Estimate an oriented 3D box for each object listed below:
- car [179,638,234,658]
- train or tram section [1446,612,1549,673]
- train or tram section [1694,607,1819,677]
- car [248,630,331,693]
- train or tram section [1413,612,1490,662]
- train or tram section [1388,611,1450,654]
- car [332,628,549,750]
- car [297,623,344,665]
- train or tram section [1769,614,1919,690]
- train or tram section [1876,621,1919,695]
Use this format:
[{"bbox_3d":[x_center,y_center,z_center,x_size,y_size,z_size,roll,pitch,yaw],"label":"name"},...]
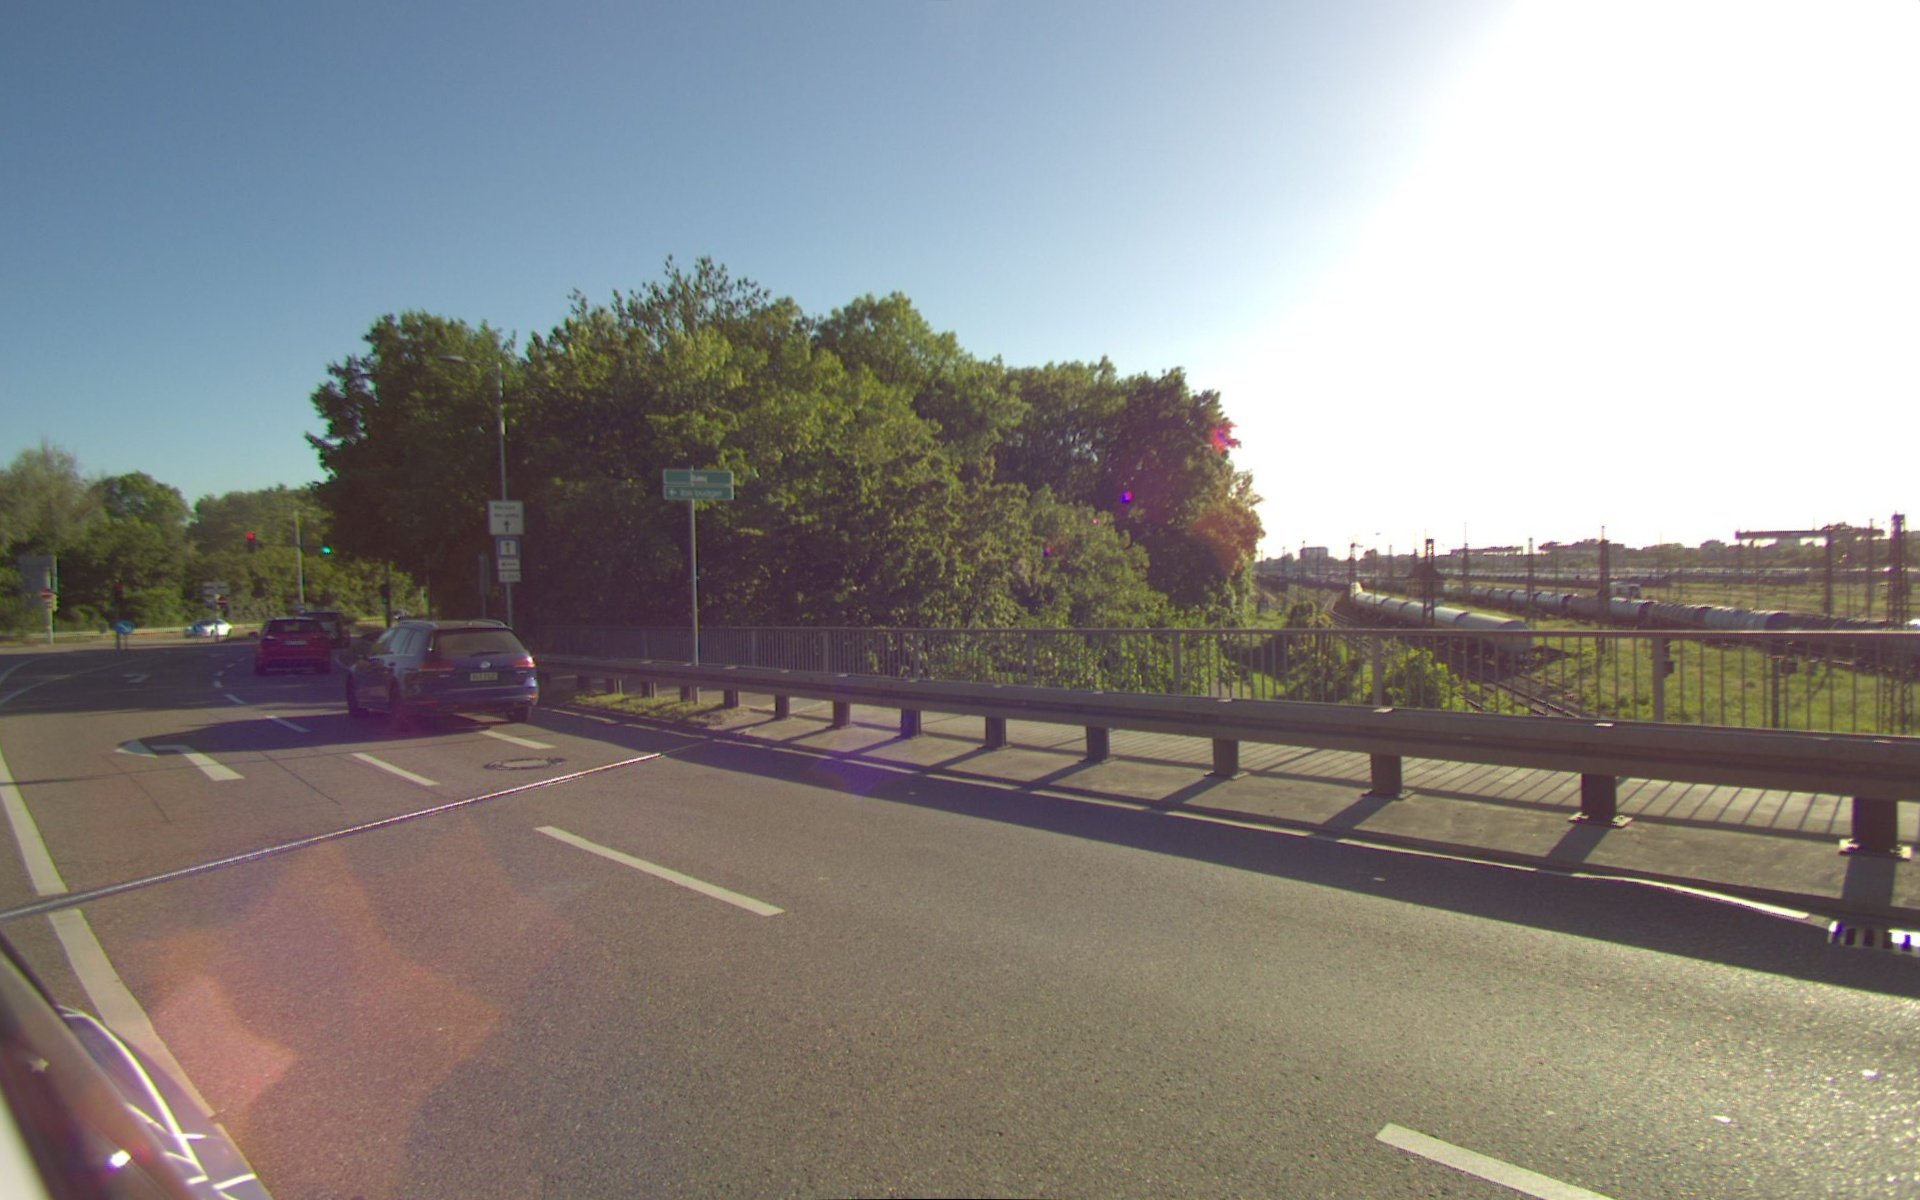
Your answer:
[{"bbox_3d":[-60.508,3.844,81.320,1.962,1.484,4.139,-1,-1,-11],"label":"car"},{"bbox_3d":[50.515,3.750,96.090,4.010,5.125,19.264,-1,-1,14],"label":"train or tram section"},{"bbox_3d":[82.790,4.165,105.831,3.870,6.661,16.424,-1,-1,15],"label":"train or tram section"},{"bbox_3d":[-19.556,1.716,29.465,1.780,1.650,4.009,0,-1,-37],"label":"car"},{"bbox_3d":[55.085,3.924,114.217,4.010,5.125,18.105,-1,-1,14],"label":"train or tram section"},{"bbox_3d":[59.440,4.093,131.684,4.010,5.125,17.786,-1,-1,14],"label":"train or tram section"},{"bbox_3d":[-7.750,1.180,14.874,1.704,1.497,4.411,0,-2,-43],"label":"car"},{"bbox_3d":[-34.611,2.342,54.887,1.922,2.128,5.286,1,-2,-30],"label":"car"},{"bbox_3d":[78.470,4.325,89.732,3.870,6.055,16.877,-1,-1,15],"label":"train or tram section"},{"bbox_3d":[74.169,4.414,73.656,3.870,5.561,16.424,-1,-1,15],"label":"train or tram section"}]
